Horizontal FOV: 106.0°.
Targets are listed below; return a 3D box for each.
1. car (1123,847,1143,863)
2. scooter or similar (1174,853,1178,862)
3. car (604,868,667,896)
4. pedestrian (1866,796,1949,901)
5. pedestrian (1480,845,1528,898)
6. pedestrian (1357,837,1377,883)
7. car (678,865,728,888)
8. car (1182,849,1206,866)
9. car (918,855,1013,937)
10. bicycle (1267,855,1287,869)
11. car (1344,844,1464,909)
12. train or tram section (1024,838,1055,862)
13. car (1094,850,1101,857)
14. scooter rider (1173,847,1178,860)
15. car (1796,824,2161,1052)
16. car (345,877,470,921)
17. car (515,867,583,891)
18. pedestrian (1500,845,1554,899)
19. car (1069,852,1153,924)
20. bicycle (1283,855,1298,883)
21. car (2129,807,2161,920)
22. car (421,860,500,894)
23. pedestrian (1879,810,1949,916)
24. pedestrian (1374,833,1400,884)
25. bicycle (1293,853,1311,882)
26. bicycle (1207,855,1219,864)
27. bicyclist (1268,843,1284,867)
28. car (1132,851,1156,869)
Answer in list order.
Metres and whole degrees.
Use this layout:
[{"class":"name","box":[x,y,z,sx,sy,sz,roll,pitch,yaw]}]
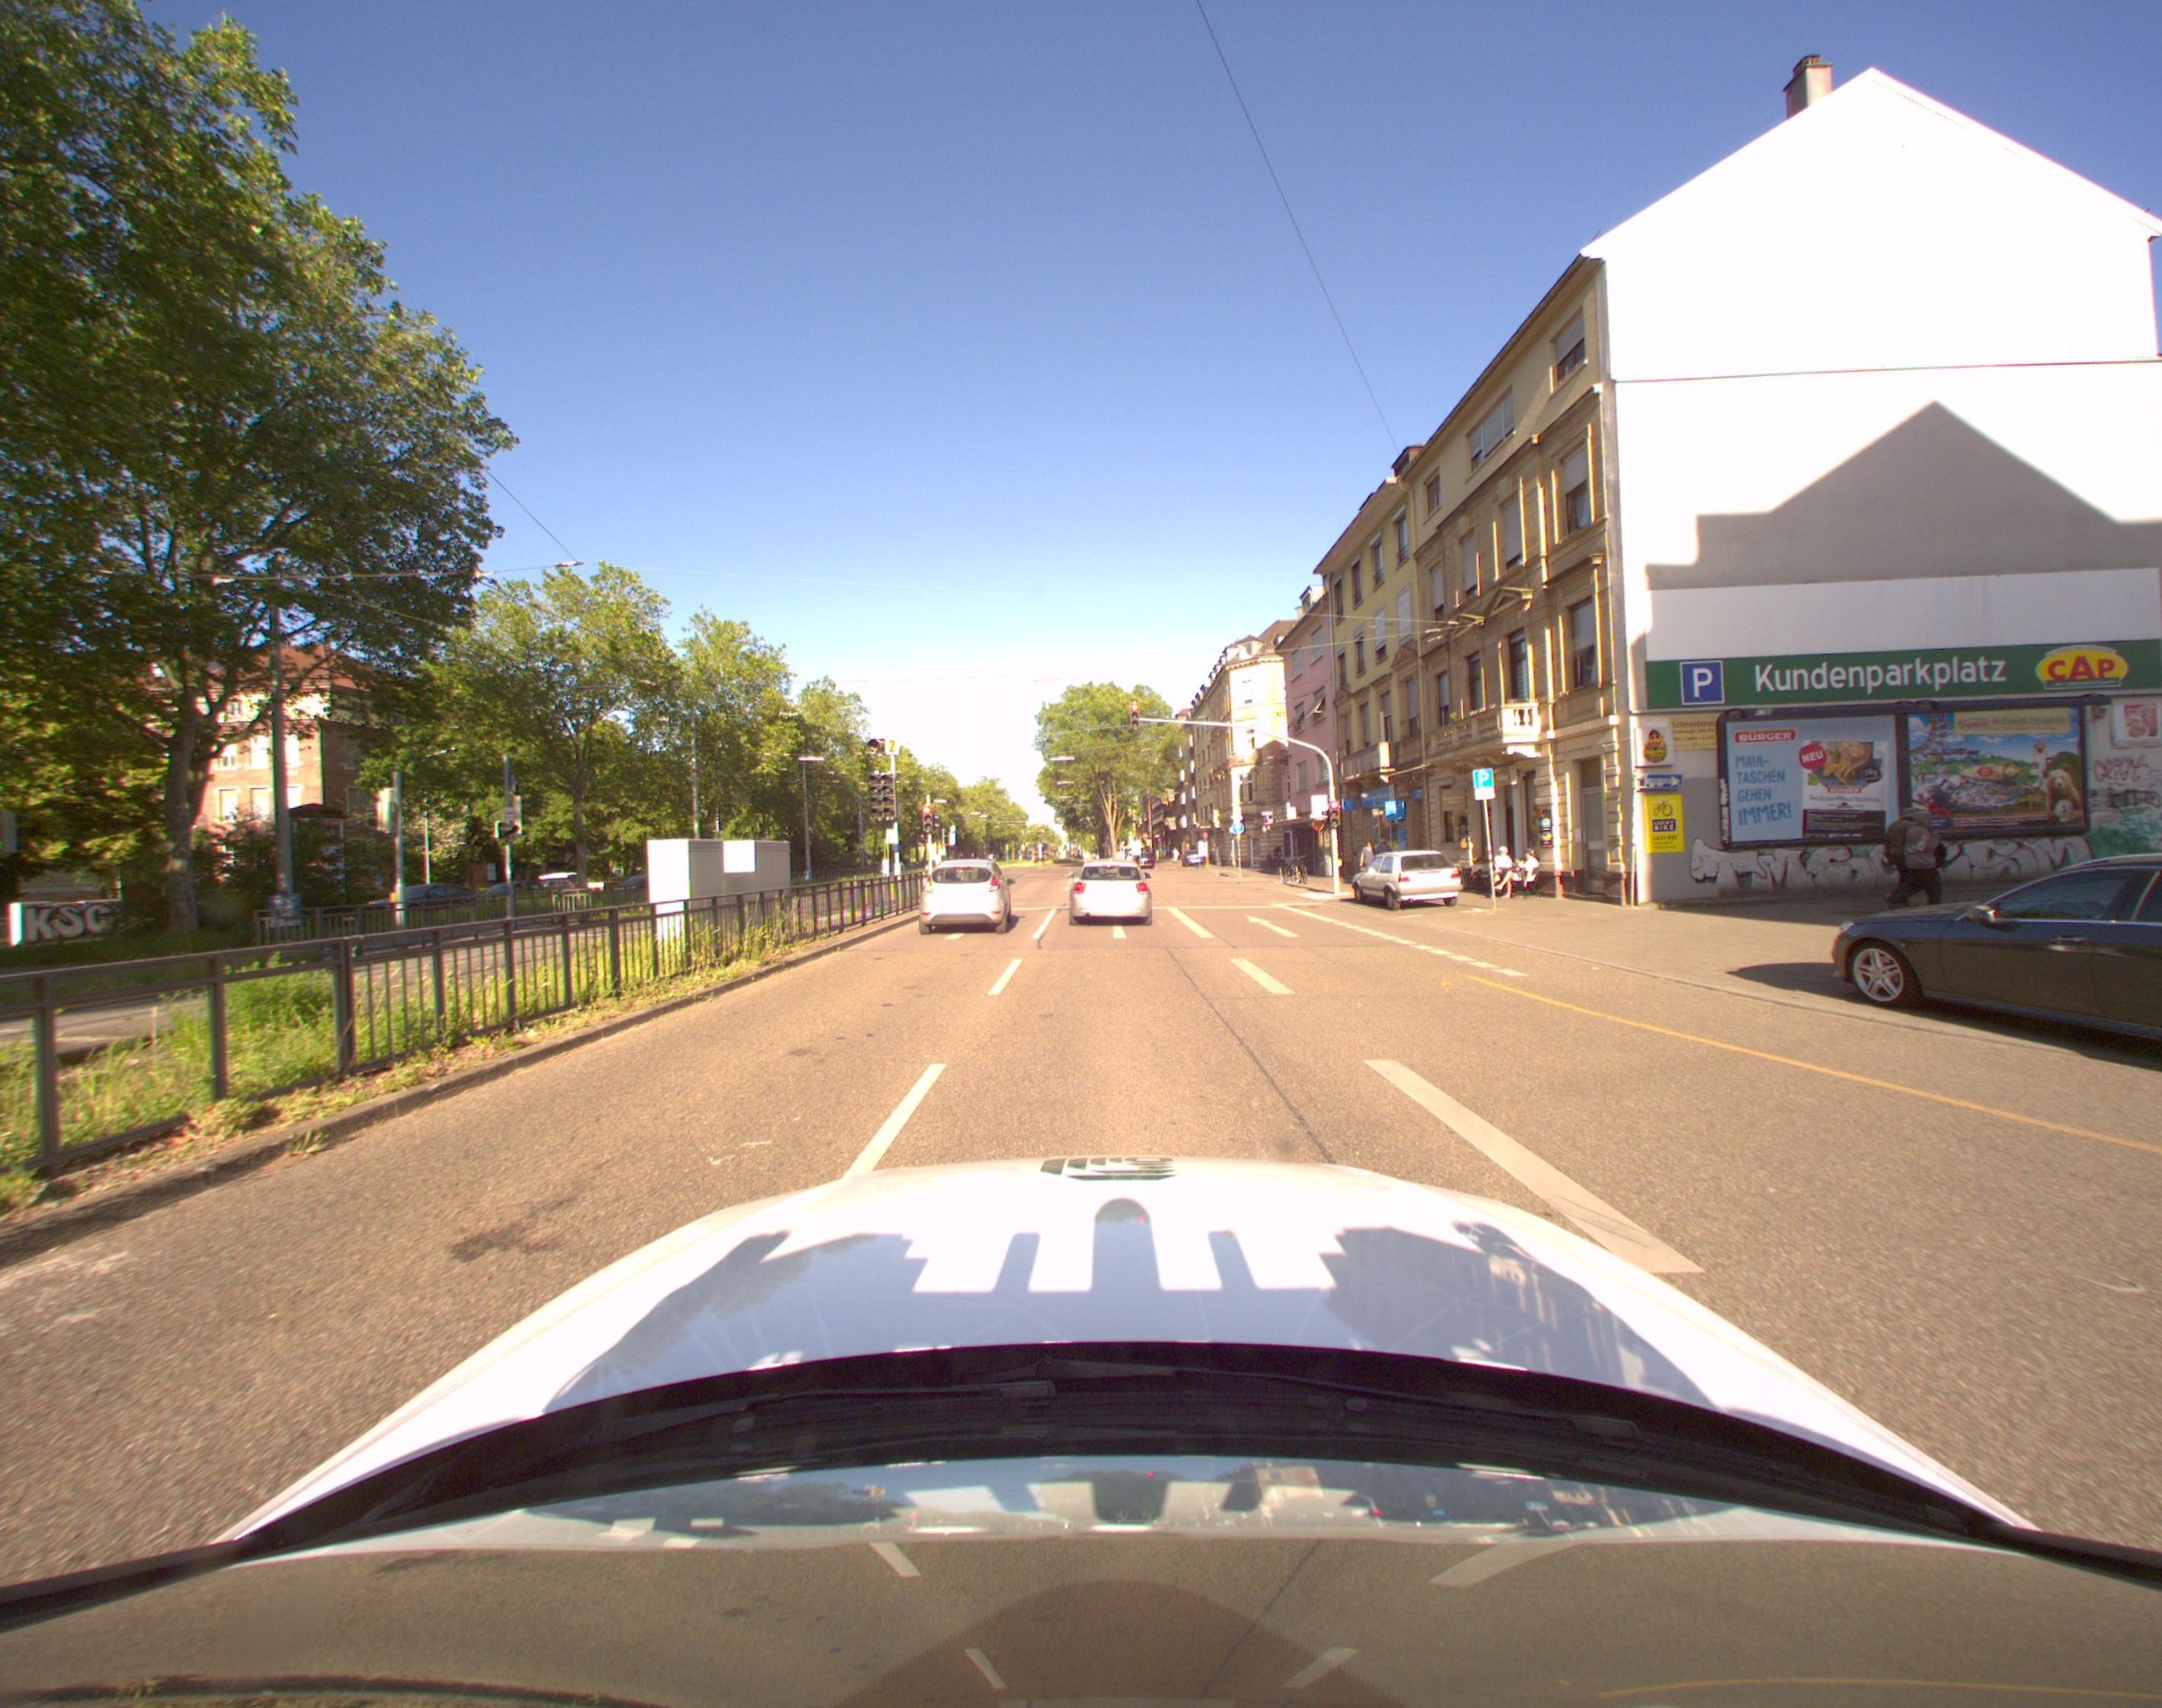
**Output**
[{"class":"car","box":[5.083,0.127,79.843,1.719,1.507,3.555,-1,0,0]},{"class":"scooter or similar","box":[10.762,0.362,92.233,0.336,0.988,1.285,-2,0,3]},{"class":"car","box":[-27.939,1.741,51.217,1.664,1.509,4.145,-2,0,0]},{"class":"pedestrian","box":[15.081,-0.099,14.867,0.761,1.841,0.744,-2,0,-15]},{"class":"pedestrian","box":[10.875,0.448,20.954,0.795,1.281,0.608,-5,0,-1]},{"class":"pedestrian","box":[10.601,0.219,30.219,0.547,1.708,0.389,-2,0,4]},{"class":"car","box":[-27.659,1.589,59.729,1.664,1.509,4.145,-2,0,0]},{"class":"car","box":[10.430,0.280,75.134,1.729,1.519,3.637,-1,0,1]},{"class":"car","box":[-2.322,0.788,17.195,1.605,1.467,3.886,-2,0,-3]},{"class":"bicycle","box":[12.430,0.507,51.674,0.646,0.903,1.346,-1,0,43]},{"class":"car","box":[8.302,0.528,21.312,1.557,1.415,4.005,-5,0,1]},{"class":"train or tram section","box":[-7.053,-0.643,141.736,3.954,3.865,17.495,-2,0,2]},{"class":"car","box":[5.111,-0.193,249.733,1.986,2.013,4.002,-2,0,2]},{"class":"scooter rider","box":[10.726,-0.061,92.168,0.463,1.505,0.811,-1,-1,2]},{"class":"car","box":[8.404,0.560,6.191,1.826,1.487,4.736,-5,0,2]},{"class":"car","box":[-27.839,1.811,33.855,1.664,1.509,4.145,-3,0,0]},{"class":"car","box":[-37.825,1.783,57.950,3.968,1.494,1.395,-2,0,5]},{"class":"pedestrian","box":[11.110,0.447,20.297,0.899,1.281,0.655,-3,0,-4]},{"class":"car","box":[0.669,0.698,18.812,1.734,1.467,4.001,0,0,1]},{"class":"bicycle","box":[8.846,0.627,34.451,0.411,1.141,1.813,-1,0,8]},{"class":"car","box":[14.977,0.104,9.309,1.554,1.485,3.392,-2,0,-2]},{"class":"car","box":[-40.294,1.452,53.017,1.986,2.013,4.001,-2,0,1]},{"class":"pedestrian","box":[14.262,0.146,13.952,0.762,1.755,0.510,-2,0,-19]},{"class":"pedestrian","box":[11.245,0.154,29.975,0.670,1.806,0.531,-3,0,1]},{"class":"bicycle","box":[9.342,0.551,34.438,0.446,1.159,1.762,-2,0,7]},{"class":"bicycle","box":[12.183,0.486,75.349,0.752,0.770,1.945,-2,0,0]},{"class":"bicyclist","box":[12.376,0.078,51.614,0.541,1.502,0.967,-2,0,43]},{"class":"car","box":[5.329,0.494,69.293,1.730,1.433,3.677,-1,0,0]}]
